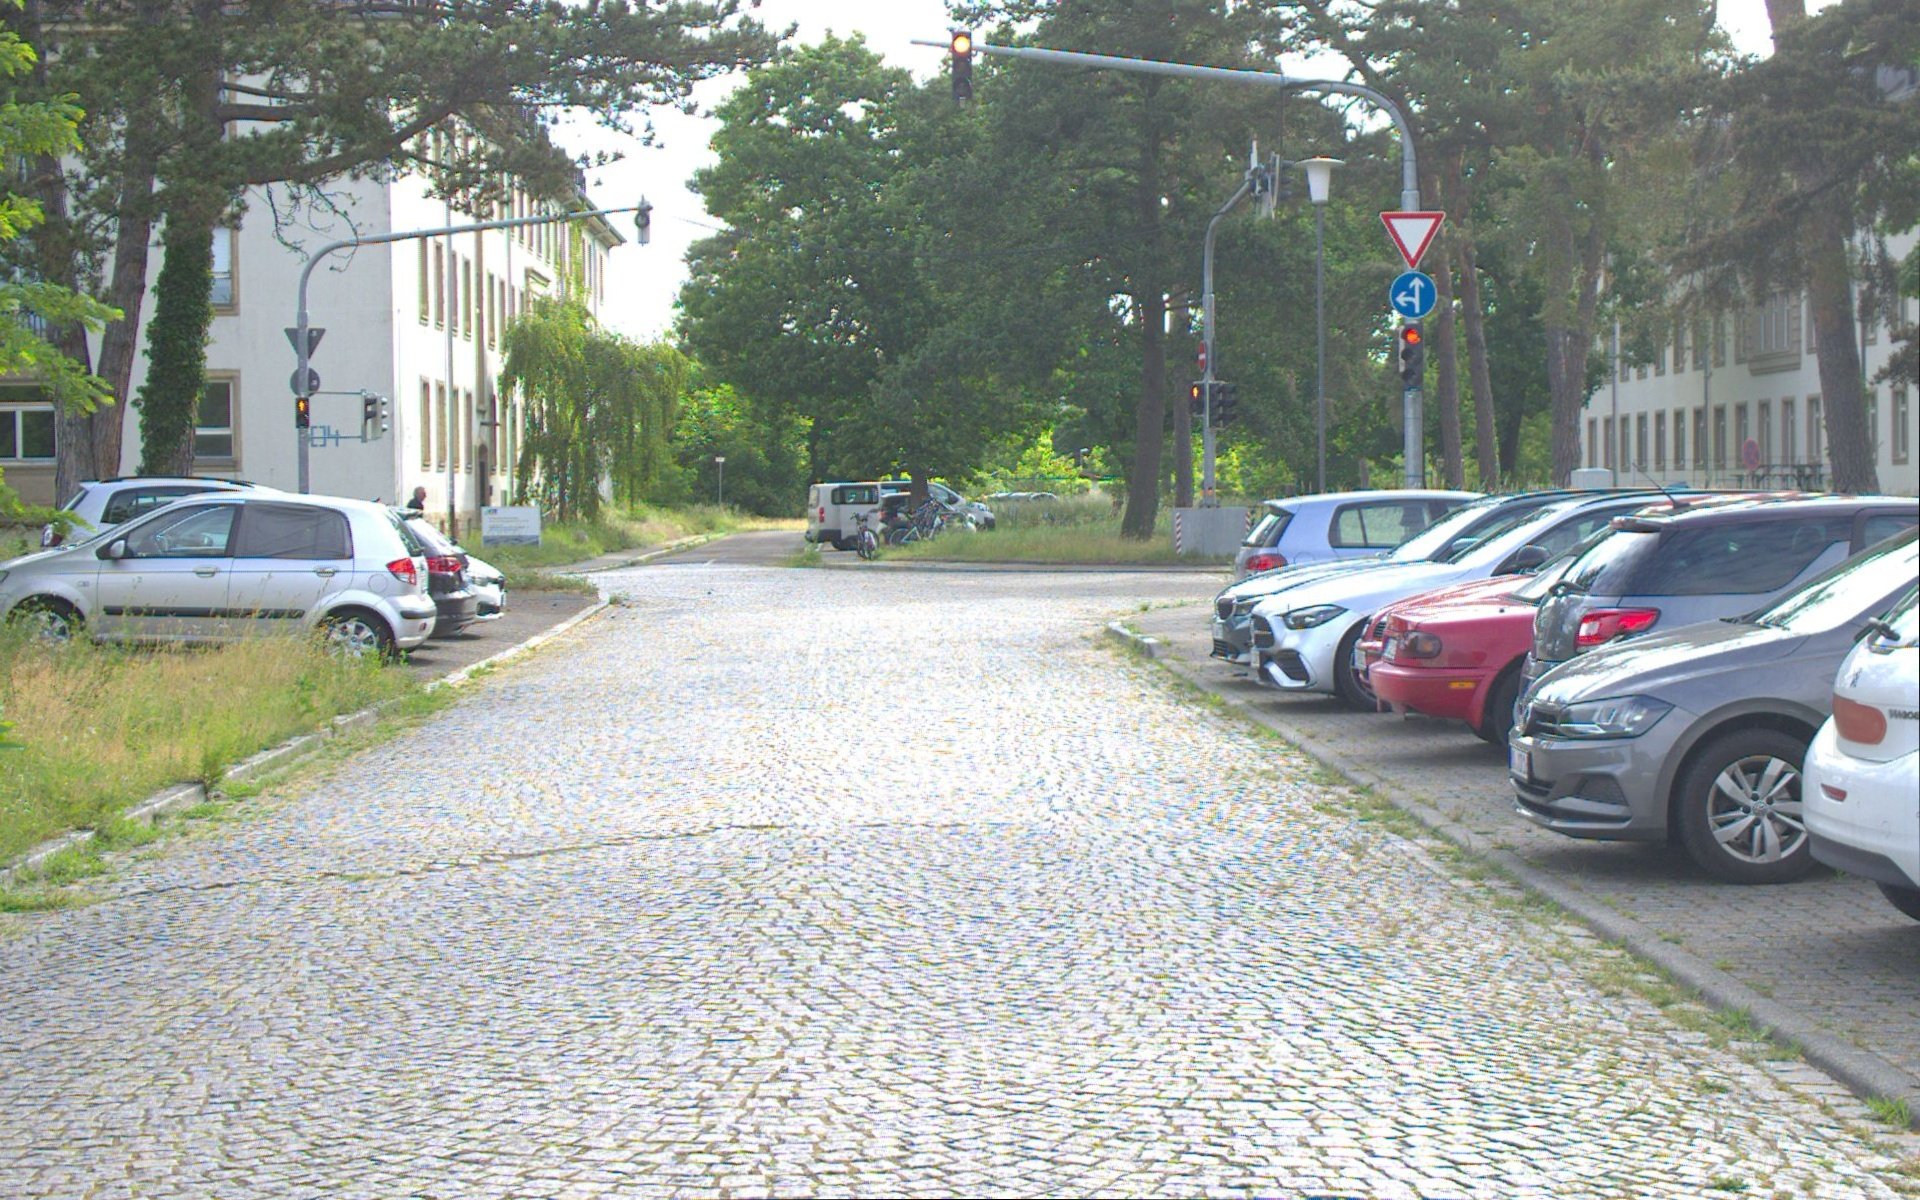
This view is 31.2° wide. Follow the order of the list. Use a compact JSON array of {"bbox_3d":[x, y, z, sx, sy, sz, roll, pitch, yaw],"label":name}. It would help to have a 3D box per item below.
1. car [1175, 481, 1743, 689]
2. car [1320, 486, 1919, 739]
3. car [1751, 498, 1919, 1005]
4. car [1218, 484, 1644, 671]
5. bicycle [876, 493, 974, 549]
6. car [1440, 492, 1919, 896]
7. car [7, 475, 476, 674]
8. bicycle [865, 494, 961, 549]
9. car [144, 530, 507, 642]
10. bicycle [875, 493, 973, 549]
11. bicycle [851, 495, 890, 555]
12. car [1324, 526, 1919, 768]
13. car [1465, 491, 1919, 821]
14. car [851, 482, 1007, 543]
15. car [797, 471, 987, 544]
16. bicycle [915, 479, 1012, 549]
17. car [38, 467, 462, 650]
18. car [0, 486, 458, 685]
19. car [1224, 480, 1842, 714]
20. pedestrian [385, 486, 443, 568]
[{"bbox_3d":[3.881,-0.149,27.054,4.122,1.538,1.665,-1,2,-7],"label":"car"},{"bbox_3d":[4.449,0.042,22.021,3.986,1.538,1.664,0,2,-7],"label":"car"},{"bbox_3d":[4.439,0.414,11.192,3.292,1.499,1.664,-1,2,-3],"label":"car"},{"bbox_3d":[4.031,-0.218,29.628,3.388,1.538,1.391,-1,2,-7],"label":"car"},{"bbox_3d":[-0.802,-1.803,78.489,2.160,1.264,0.813,0,2,-8],"label":"bicycle"},{"bbox_3d":[3.974,0.314,14.170,3.597,1.501,1.665,-1,2,-12],"label":"car"},{"bbox_3d":[-6.408,-0.267,31.064,3.986,1.700,2.001,-1,2,-8],"label":"car"},{"bbox_3d":[-1.098,-1.844,80.284,2.160,1.264,0.813,0,2,-8],"label":"bicycle"},{"bbox_3d":[-6.641,-0.167,36.291,3.670,1.090,1.647,-1,2,-8],"label":"car"},{"bbox_3d":[-0.824,-1.815,79.076,2.160,1.264,0.813,0,2,-8],"label":"bicycle"},{"bbox_3d":[-1.942,-1.640,74.704,0.810,1.264,1.973,0,2,-1],"label":"bicycle"},{"bbox_3d":[3.895,0.236,19.764,3.291,1.263,1.665,-1,2,-7],"label":"car"},{"bbox_3d":[4.359,0.219,17.057,3.291,1.499,1.665,-1,2,-12],"label":"car"},{"bbox_3d":[-0.853,-2.376,93.031,3.986,1.638,2.001,0,2,-7],"label":"car"},{"bbox_3d":[-1.919,-2.592,96.279,5.049,2.006,2.001,0,2,-12],"label":"car"},{"bbox_3d":[0.085,-1.992,79.803,2.160,1.610,0.813,0,2,-8],"label":"bicycle"},{"bbox_3d":[-6.958,-0.437,34.054,3.986,1.744,1.928,0,2,-8],"label":"car"},{"bbox_3d":[-6.218,-0.154,28.617,3.986,1.546,2.001,-1,2,-8],"label":"car"},{"bbox_3d":[3.989,-0.056,24.245,3.986,1.538,1.665,-1,2,-7],"label":"car"},{"bbox_3d":[-9.932,-1.333,62.568,0.898,1.493,0.904,0,2,-1],"label":"pedestrian"}]
